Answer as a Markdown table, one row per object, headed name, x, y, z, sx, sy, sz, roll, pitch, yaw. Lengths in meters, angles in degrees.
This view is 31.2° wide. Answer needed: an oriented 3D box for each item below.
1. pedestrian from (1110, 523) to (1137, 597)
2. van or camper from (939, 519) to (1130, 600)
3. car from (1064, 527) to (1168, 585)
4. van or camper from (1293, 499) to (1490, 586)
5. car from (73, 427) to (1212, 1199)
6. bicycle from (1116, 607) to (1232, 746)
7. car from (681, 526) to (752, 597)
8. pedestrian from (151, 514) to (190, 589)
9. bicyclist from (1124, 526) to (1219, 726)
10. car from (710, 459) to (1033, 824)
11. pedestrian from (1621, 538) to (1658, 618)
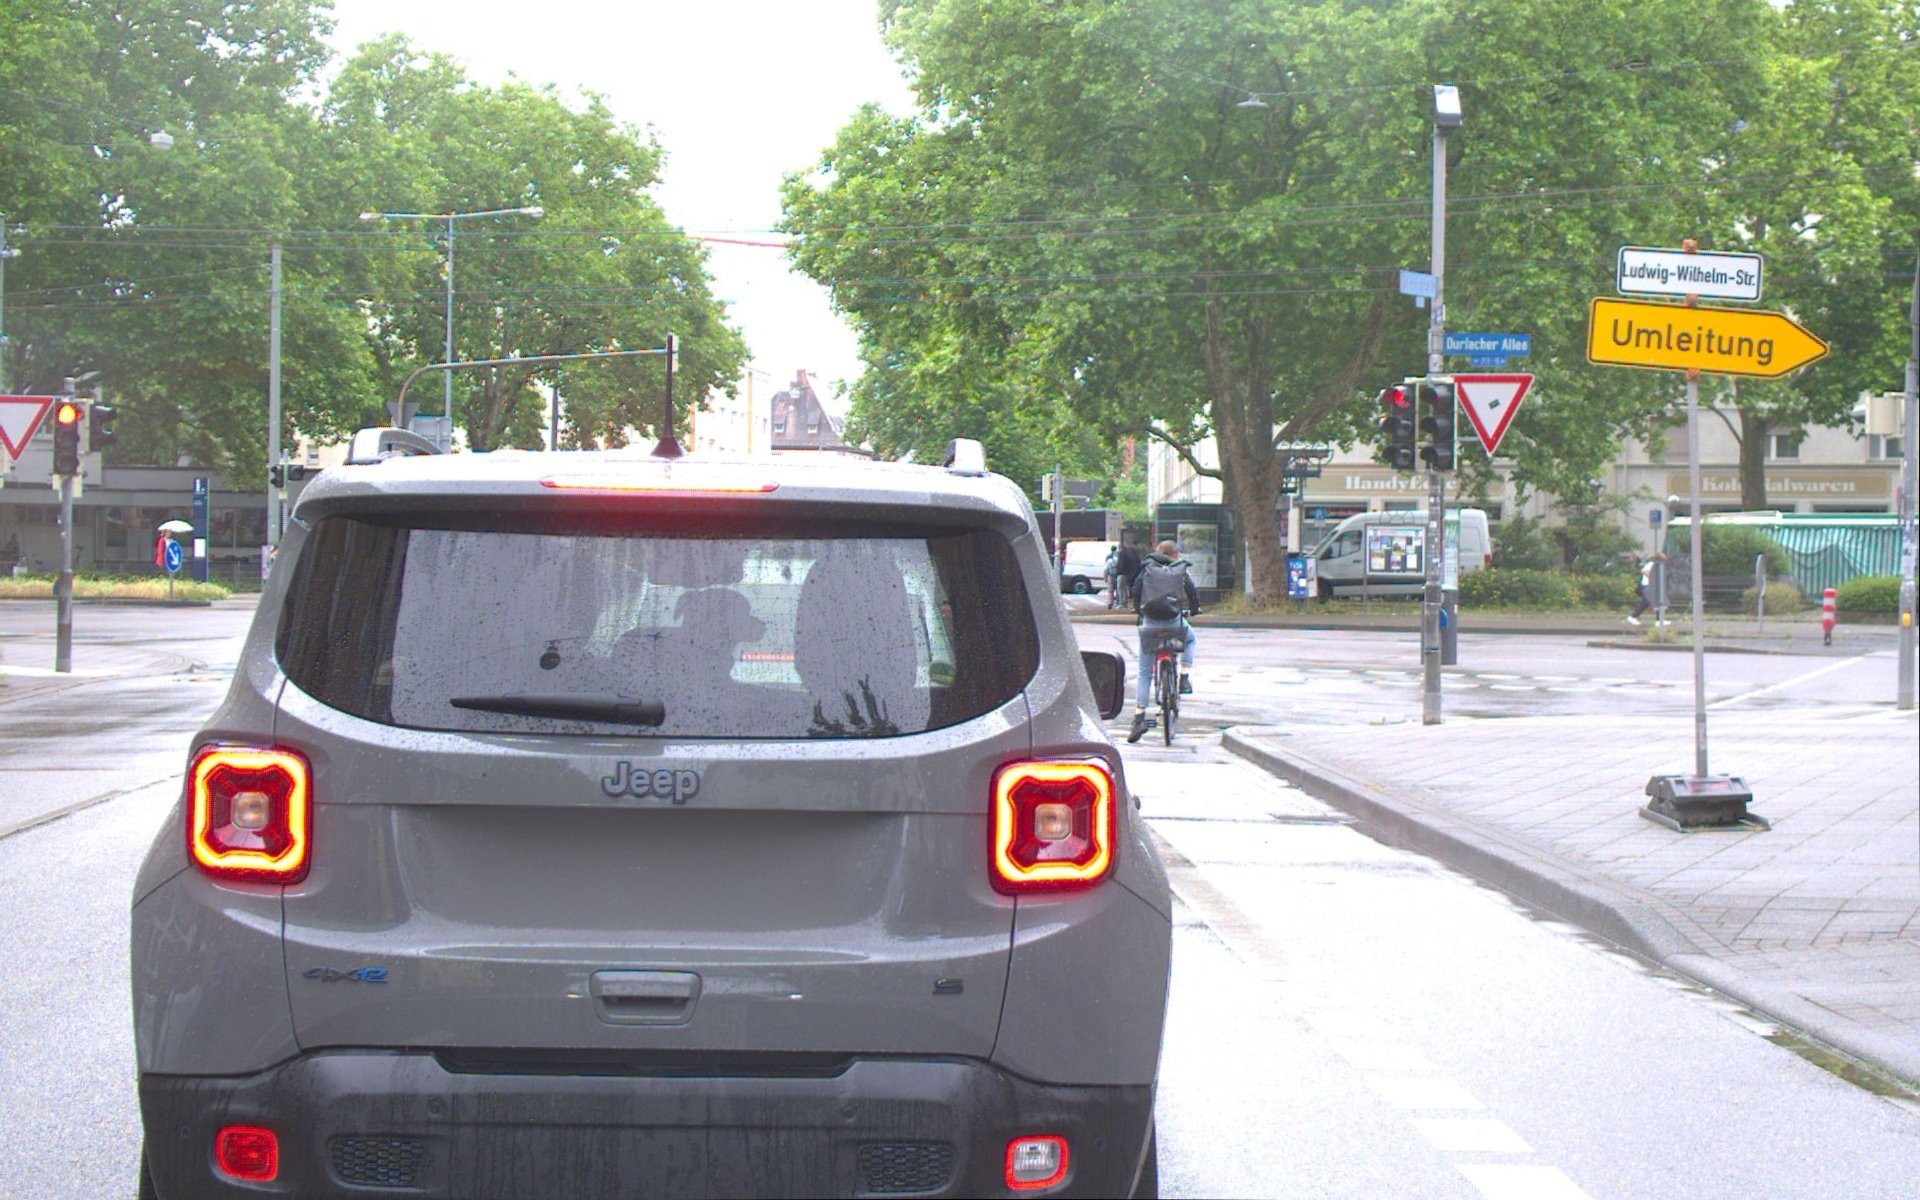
| name | x | y | z | sx | sy | sz | roll | pitch | yaw |
| --- | --- | --- | --- | --- | --- | --- | --- | --- | --- |
| pedestrian | 4.471 | -1.083 | 93.782 | 0.651 | 2.007 | 0.482 | 1 | 1 | 12 |
| van or camper | 2.706 | -1.499 | 125.781 | 6.536 | 2.902 | 2.491 | 1 | 1 | 26 |
| car | 5.475 | -1.547 | 120.635 | 3.438 | 2.007 | 1.547 | 0 | 0 | 13 |
| van or camper | 12.008 | -1.616 | 95.895 | 5.260 | 2.307 | 2.090 | 1 | 1 | 3 |
| car | -0.545 | 0.536 | 7.323 | 1.775 | 1.681 | 3.848 | 0 | 1 | -2 |
| bicycle | 1.731 | 0.602 | 28.151 | 0.691 | 1.018 | 2.658 | 0 | 1 | -2 |
| car | -6.094 | -0.983 | 85.952 | 1.721 | 1.733 | 3.730 | 0 | 1 | -5 |
| pedestrian | -19.094 | -1.177 | 83.148 | 0.692 | 1.820 | 0.620 | 0 | 1 | 15 |
| bicyclist | 1.725 | 0.202 | 28.149 | 0.687 | 1.612 | 0.884 | 0 | 1 | -2 |
| car | -0.526 | 0.193 | 21.023 | 1.770 | 2.007 | 4.000 | 0 | 1 | -1 |
| pedestrian | 13.635 | -0.443 | 69.000 | 0.613 | 1.598 | 0.493 | 1 | 1 | 24 |
